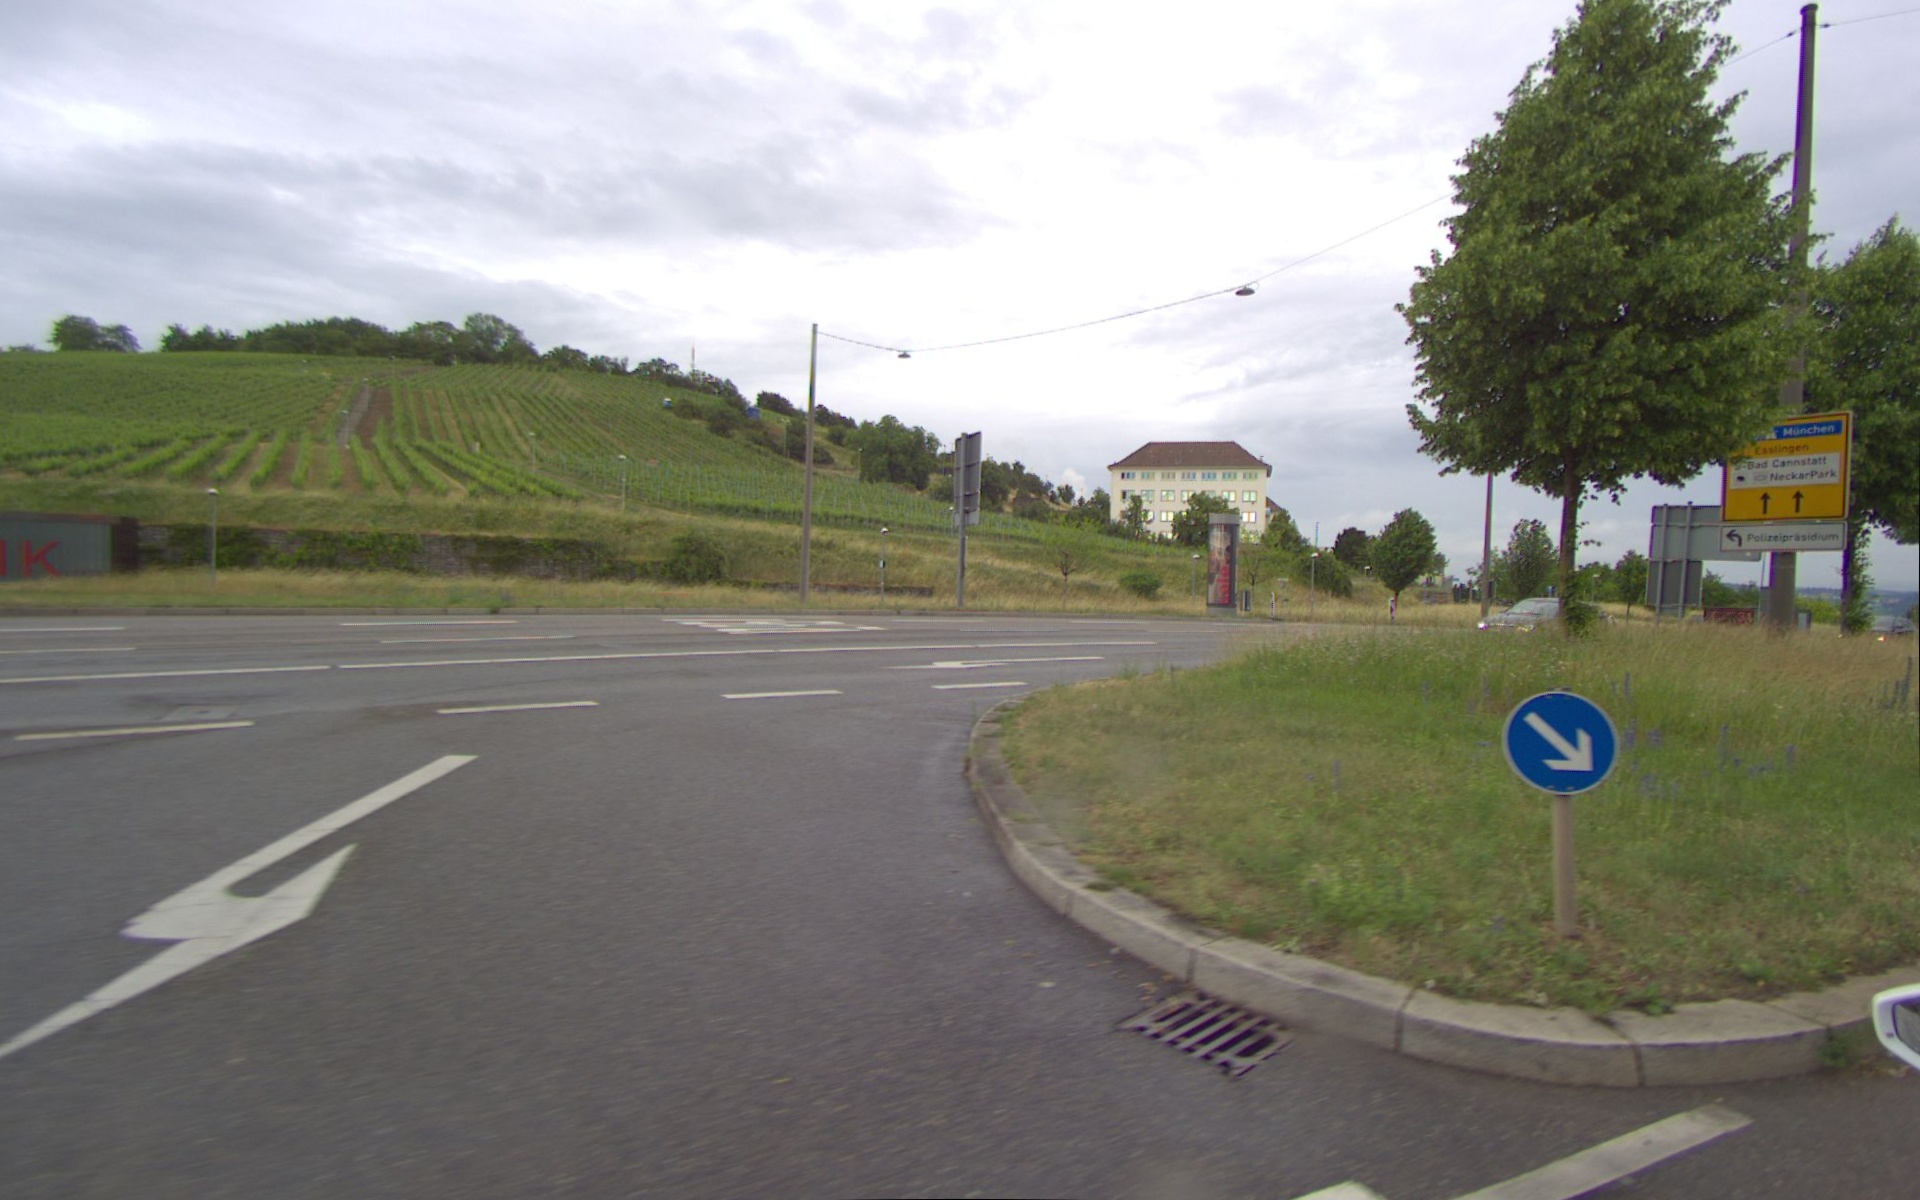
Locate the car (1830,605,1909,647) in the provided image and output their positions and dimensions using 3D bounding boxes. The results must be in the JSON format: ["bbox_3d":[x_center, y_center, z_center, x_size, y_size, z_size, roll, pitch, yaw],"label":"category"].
[{"bbox_3d":[41.432,1.166,45.718,3.959,1.773,1.756,2,1,-34],"label":"car"}]

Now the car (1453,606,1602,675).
[{"bbox_3d":[15.446,1.063,27.282,4.315,1.676,1.865,2,1,-36],"label":"car"}]
